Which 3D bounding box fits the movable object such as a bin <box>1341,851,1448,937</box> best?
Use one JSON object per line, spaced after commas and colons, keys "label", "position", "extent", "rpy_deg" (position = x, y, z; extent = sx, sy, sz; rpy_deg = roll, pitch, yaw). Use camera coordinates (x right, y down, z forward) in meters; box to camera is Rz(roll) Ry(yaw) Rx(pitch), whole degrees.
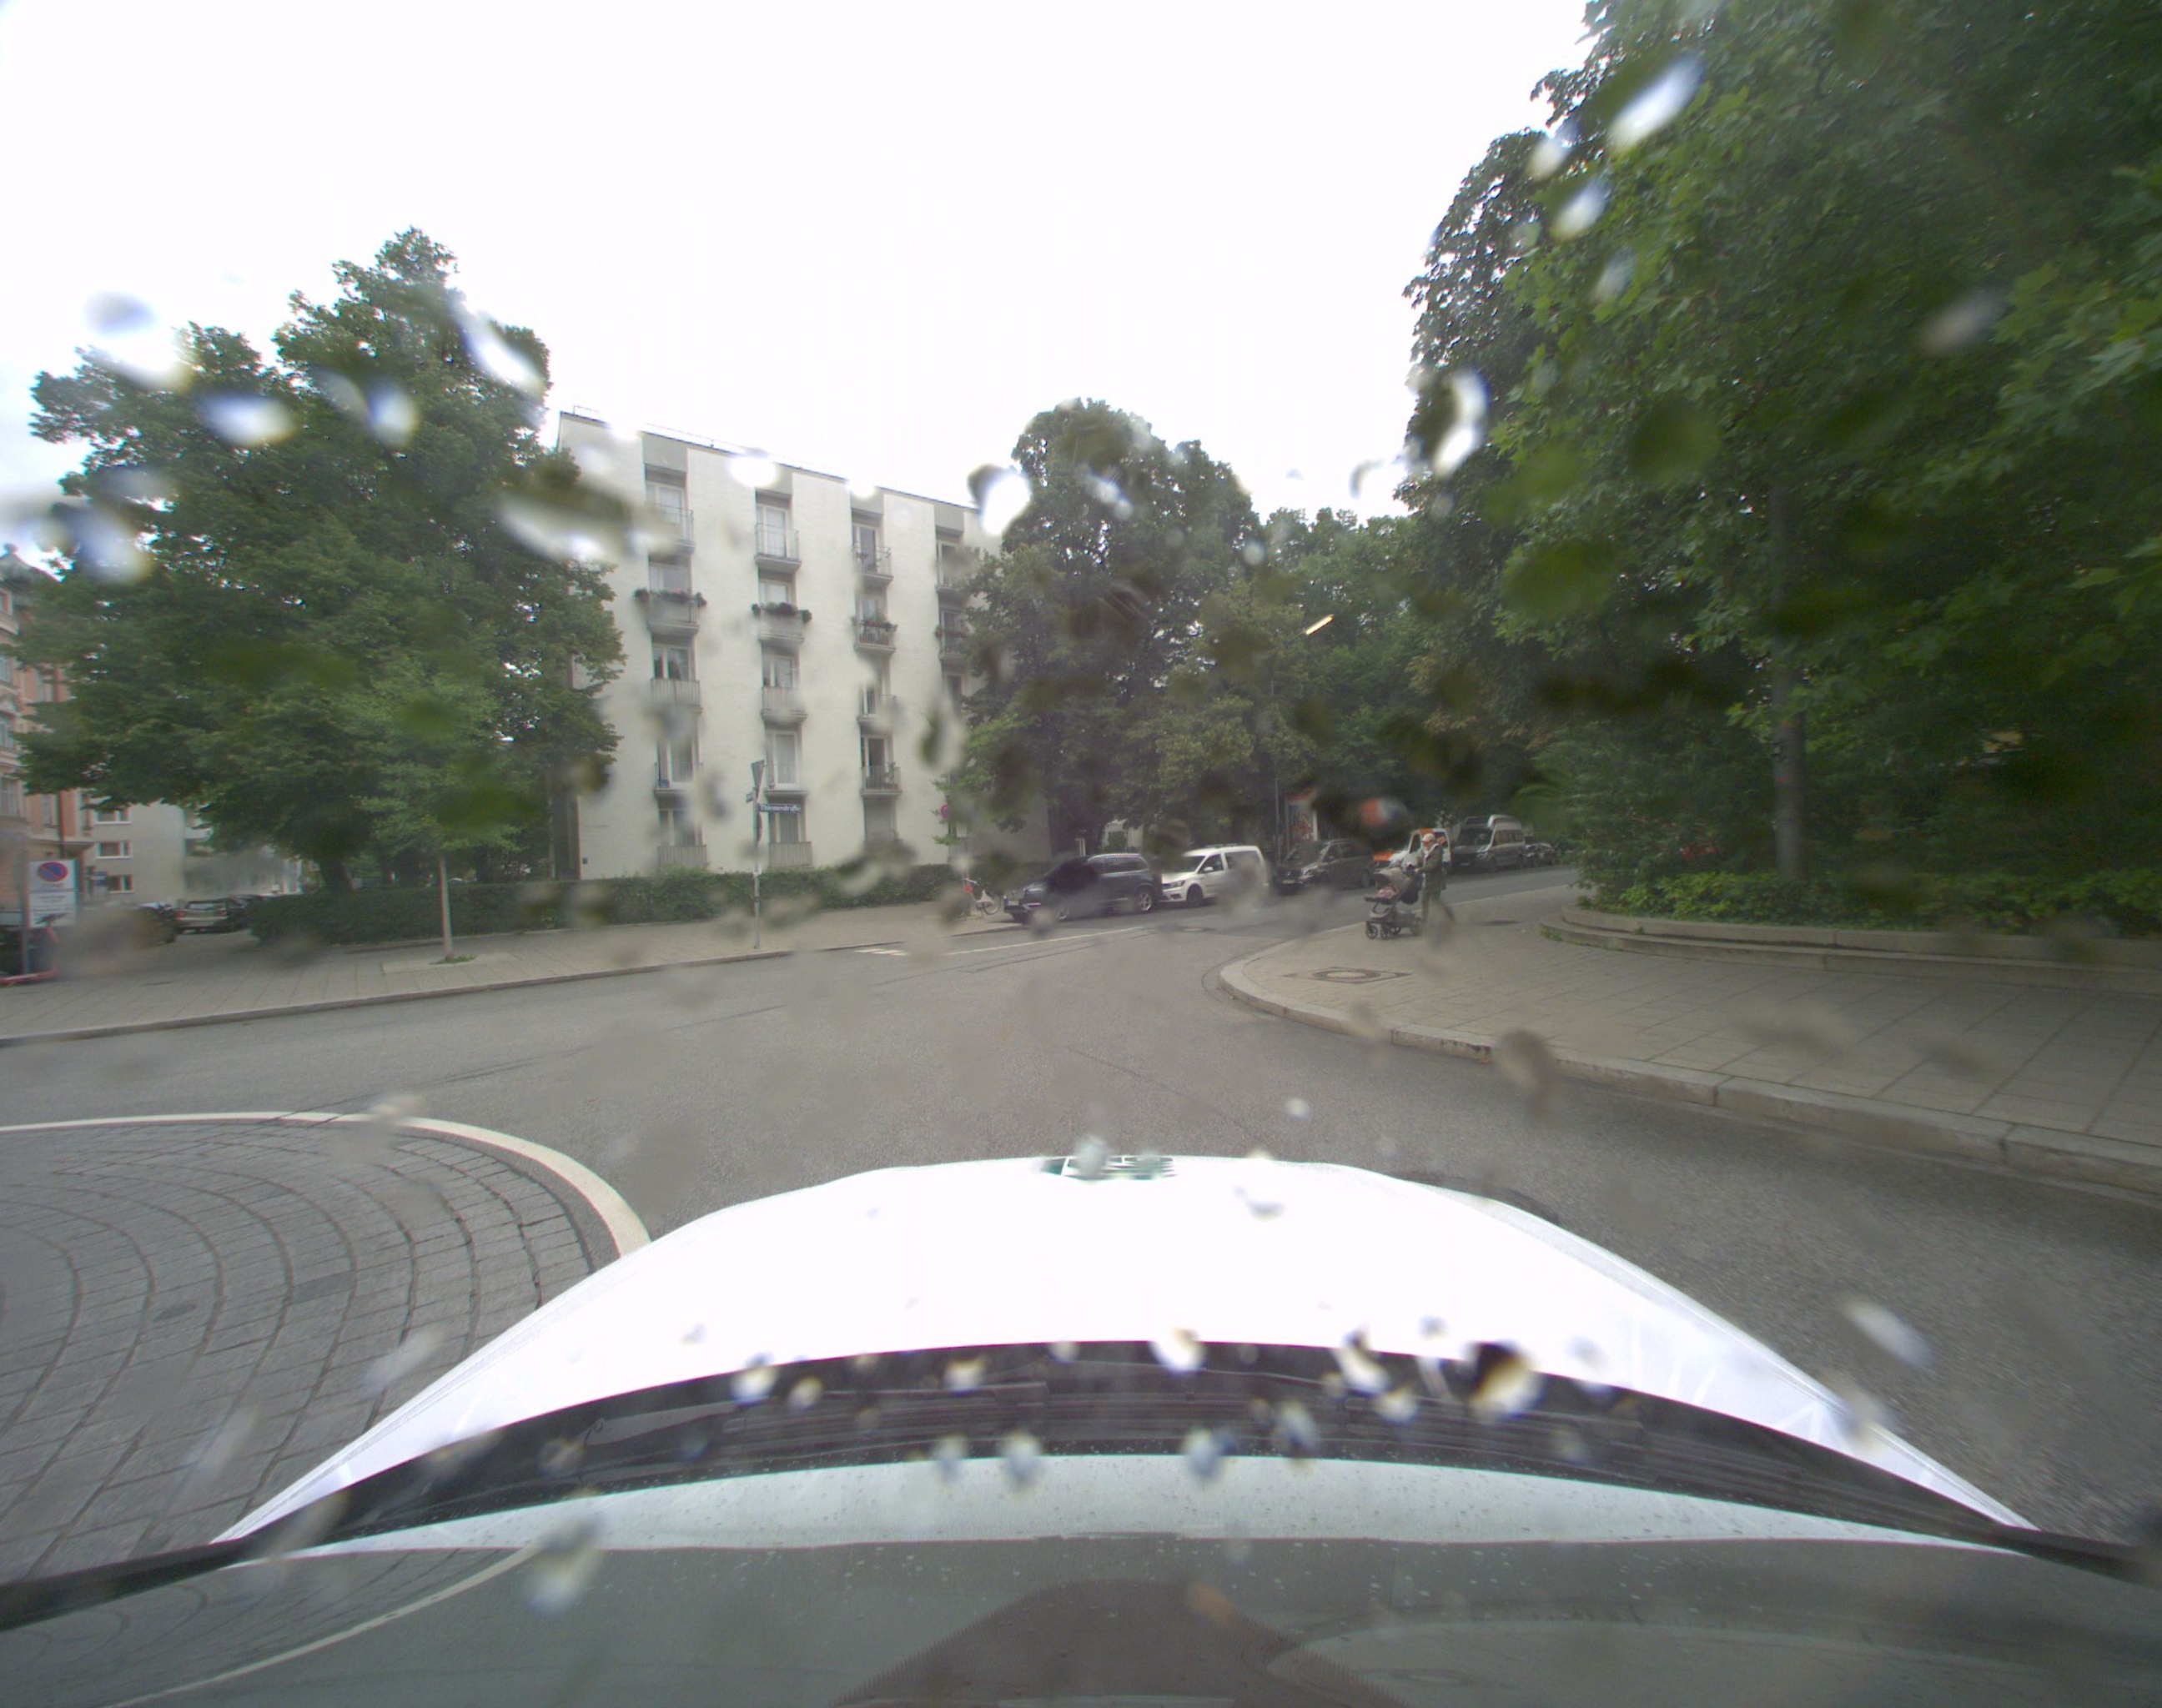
{"label": "movable object such as a bin", "position": [5.052, 0.642, 13.169], "extent": [1.089, 1.267, 1.072], "rpy_deg": [-3, -3, -27]}

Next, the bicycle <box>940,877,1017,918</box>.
{"label": "bicycle", "position": [-2.938, 1.244, 23.481], "extent": [1.981, 1.051, 0.903], "rpy_deg": [-2, -1, -39]}

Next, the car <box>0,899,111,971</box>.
{"label": "car", "position": [-25.896, 1.963, 20.101], "extent": [1.785, 1.518, 3.988], "rpy_deg": [-2, 0, -40]}

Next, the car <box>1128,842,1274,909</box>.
{"label": "car", "position": [3.981, 0.632, 26.419], "extent": [4.894, 1.895, 1.909], "rpy_deg": [-2, 0, -41]}

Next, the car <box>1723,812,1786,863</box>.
{"label": "car", "position": [36.576, -0.883, 44.185], "extent": [5.279, 2.558, 2.022], "rpy_deg": [-2, -1, -45]}

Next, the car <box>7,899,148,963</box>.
{"label": "car", "position": [-28.949, 2.155, 23.636], "extent": [1.785, 1.518, 3.988], "rpy_deg": [-2, 0, -40]}

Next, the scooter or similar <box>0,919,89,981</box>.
{"label": "scooter or similar", "position": [-19.355, 1.781, 15.130], "extent": [0.374, 1.025, 1.149], "rpy_deg": [-3, -1, 41]}

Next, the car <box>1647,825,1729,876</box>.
{"label": "car", "position": [24.950, -0.184, 33.407], "extent": [2.022, 1.922, 4.473], "rpy_deg": [-3, 0, 44]}

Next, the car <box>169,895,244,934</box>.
{"label": "car", "position": [-39.290, 2.668, 36.682], "extent": [1.785, 1.518, 3.988], "rpy_deg": [-2, 0, -40]}

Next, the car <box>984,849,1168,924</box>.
{"label": "car", "position": [-0.054, 0.824, 22.768], "extent": [4.932, 1.767, 2.047], "rpy_deg": [-2, 0, -40]}

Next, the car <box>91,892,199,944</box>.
{"label": "car", "position": [-32.163, 2.155, 28.111], "extent": [1.785, 1.518, 3.988], "rpy_deg": [-2, 0, -40]}

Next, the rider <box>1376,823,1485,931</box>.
{"label": "rider", "position": [5.813, 0.387, 13.575], "extent": [1.142, 1.668, 1.076], "rpy_deg": [-2, -3, -27]}

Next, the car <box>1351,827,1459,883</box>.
{"label": "car", "position": [14.292, 0.025, 35.768], "extent": [5.222, 2.251, 2.093], "rpy_deg": [-2, 0, -40]}

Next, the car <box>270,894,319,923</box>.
{"label": "car", "position": [-47.226, 3.237, 48.977], "extent": [1.785, 1.518, 3.988], "rpy_deg": [-2, 0, -40]}

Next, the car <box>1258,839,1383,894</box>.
{"label": "car", "position": [9.108, 0.440, 30.737], "extent": [5.012, 1.859, 2.047], "rpy_deg": [-2, 0, -40]}

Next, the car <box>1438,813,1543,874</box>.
{"label": "car", "position": [21.248, -0.558, 42.087], "extent": [6.613, 2.922, 2.315], "rpy_deg": [-2, -1, -40]}

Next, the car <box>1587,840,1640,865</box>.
{"label": "car", "position": [36.021, -0.115, 55.074], "extent": [4.096, 1.571, 1.879], "rpy_deg": [-2, 0, -41]}

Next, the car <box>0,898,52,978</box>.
{"label": "car", "position": [-22.482, 1.723, 16.128], "extent": [1.785, 1.518, 3.988], "rpy_deg": [-2, 0, -40]}

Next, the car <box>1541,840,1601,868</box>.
{"label": "car", "position": [29.647, -0.015, 49.263], "extent": [4.096, 1.538, 1.879], "rpy_deg": [-2, 0, -41]}
